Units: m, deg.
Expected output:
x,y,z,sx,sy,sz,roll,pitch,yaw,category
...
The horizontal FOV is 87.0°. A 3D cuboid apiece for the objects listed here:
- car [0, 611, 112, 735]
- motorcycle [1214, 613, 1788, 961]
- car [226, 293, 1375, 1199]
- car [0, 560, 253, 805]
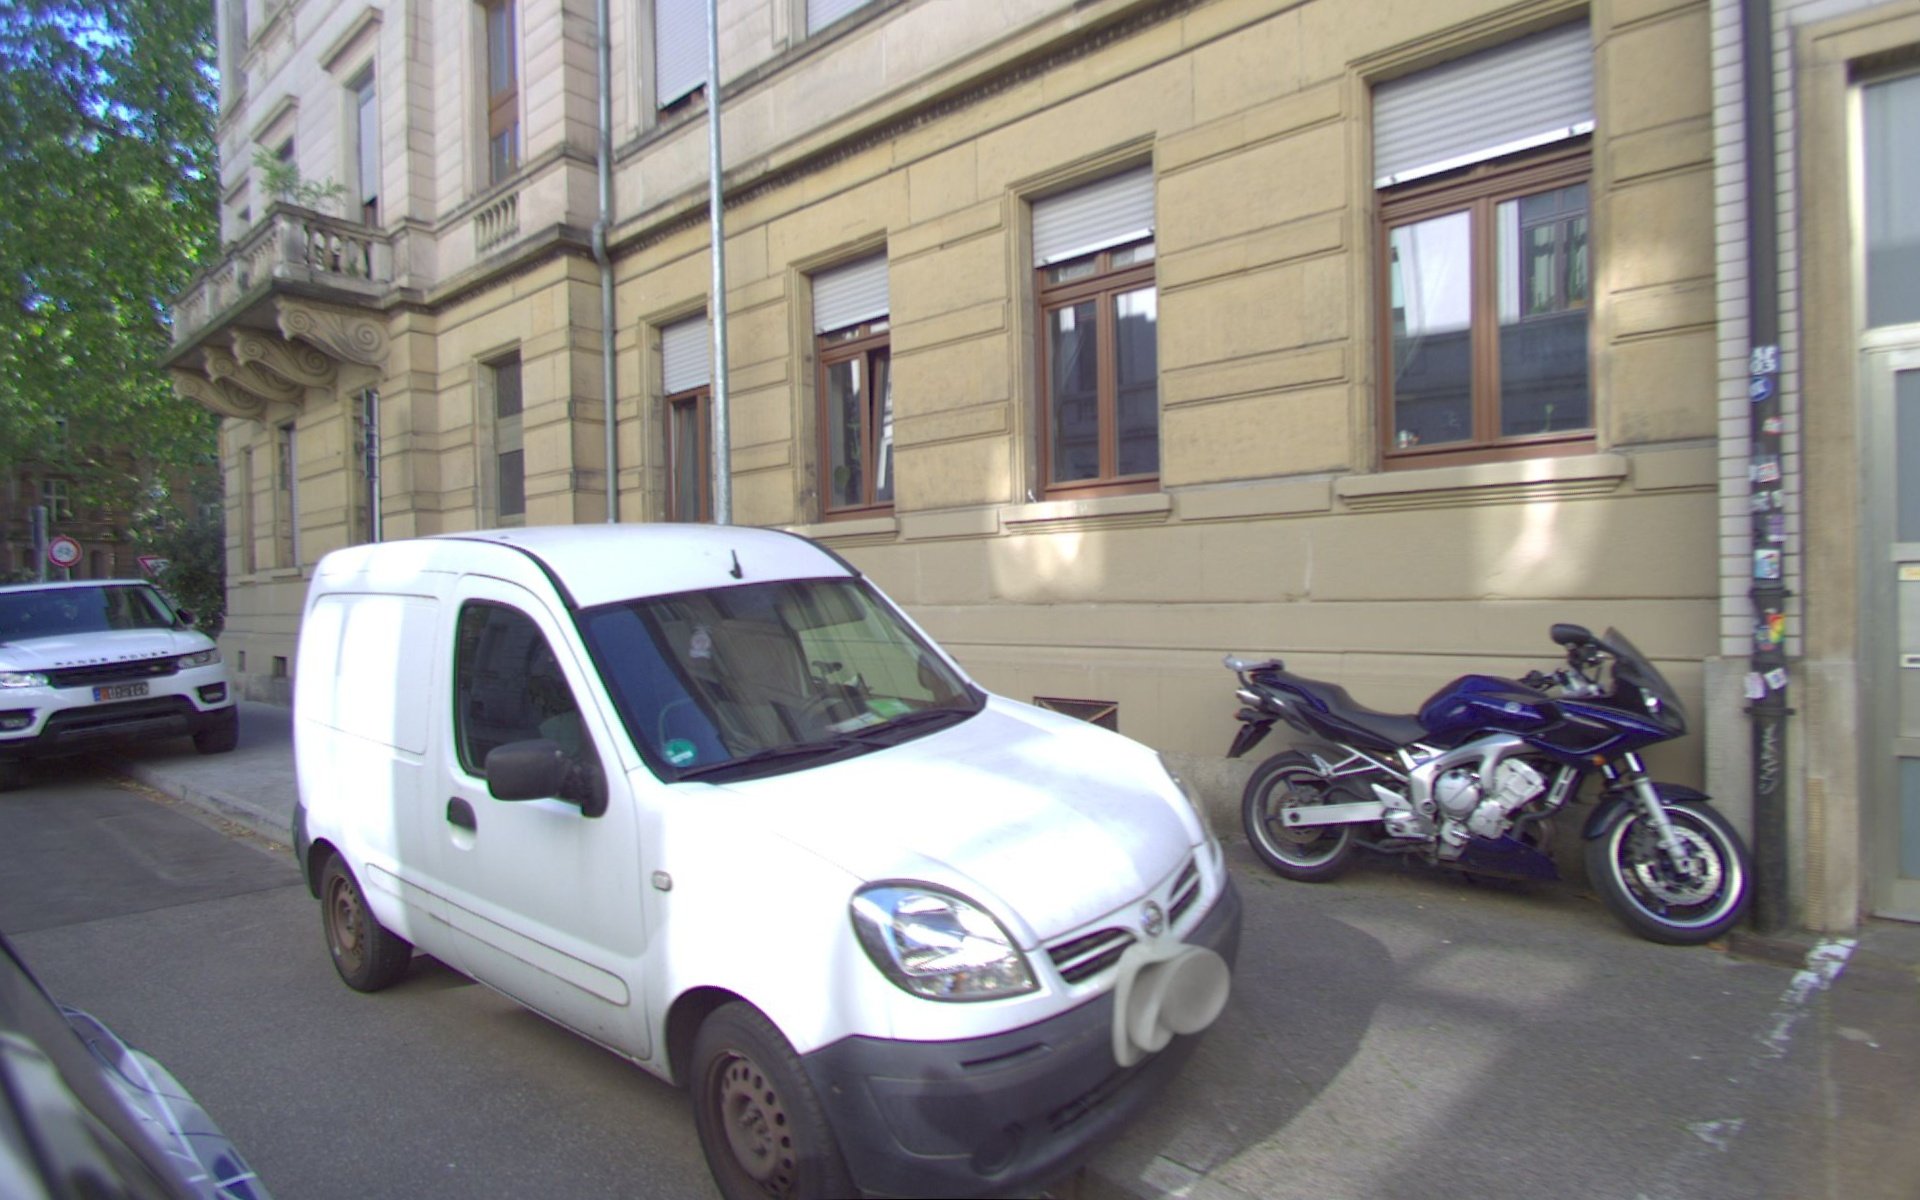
x,y,z,sx,sy,sz,roll,pitch,yaw,category
-14.044,0.996,14.740,3.938,1.573,1.849,0,2,39,car
2.180,0.667,4.354,2.120,1.194,0.428,-1,0,40,motorcycle
-0.938,0.447,3.615,4.087,1.890,1.727,-2,3,41,car
-9.144,0.704,10.440,4.541,2.029,2.001,-1,0,41,car
